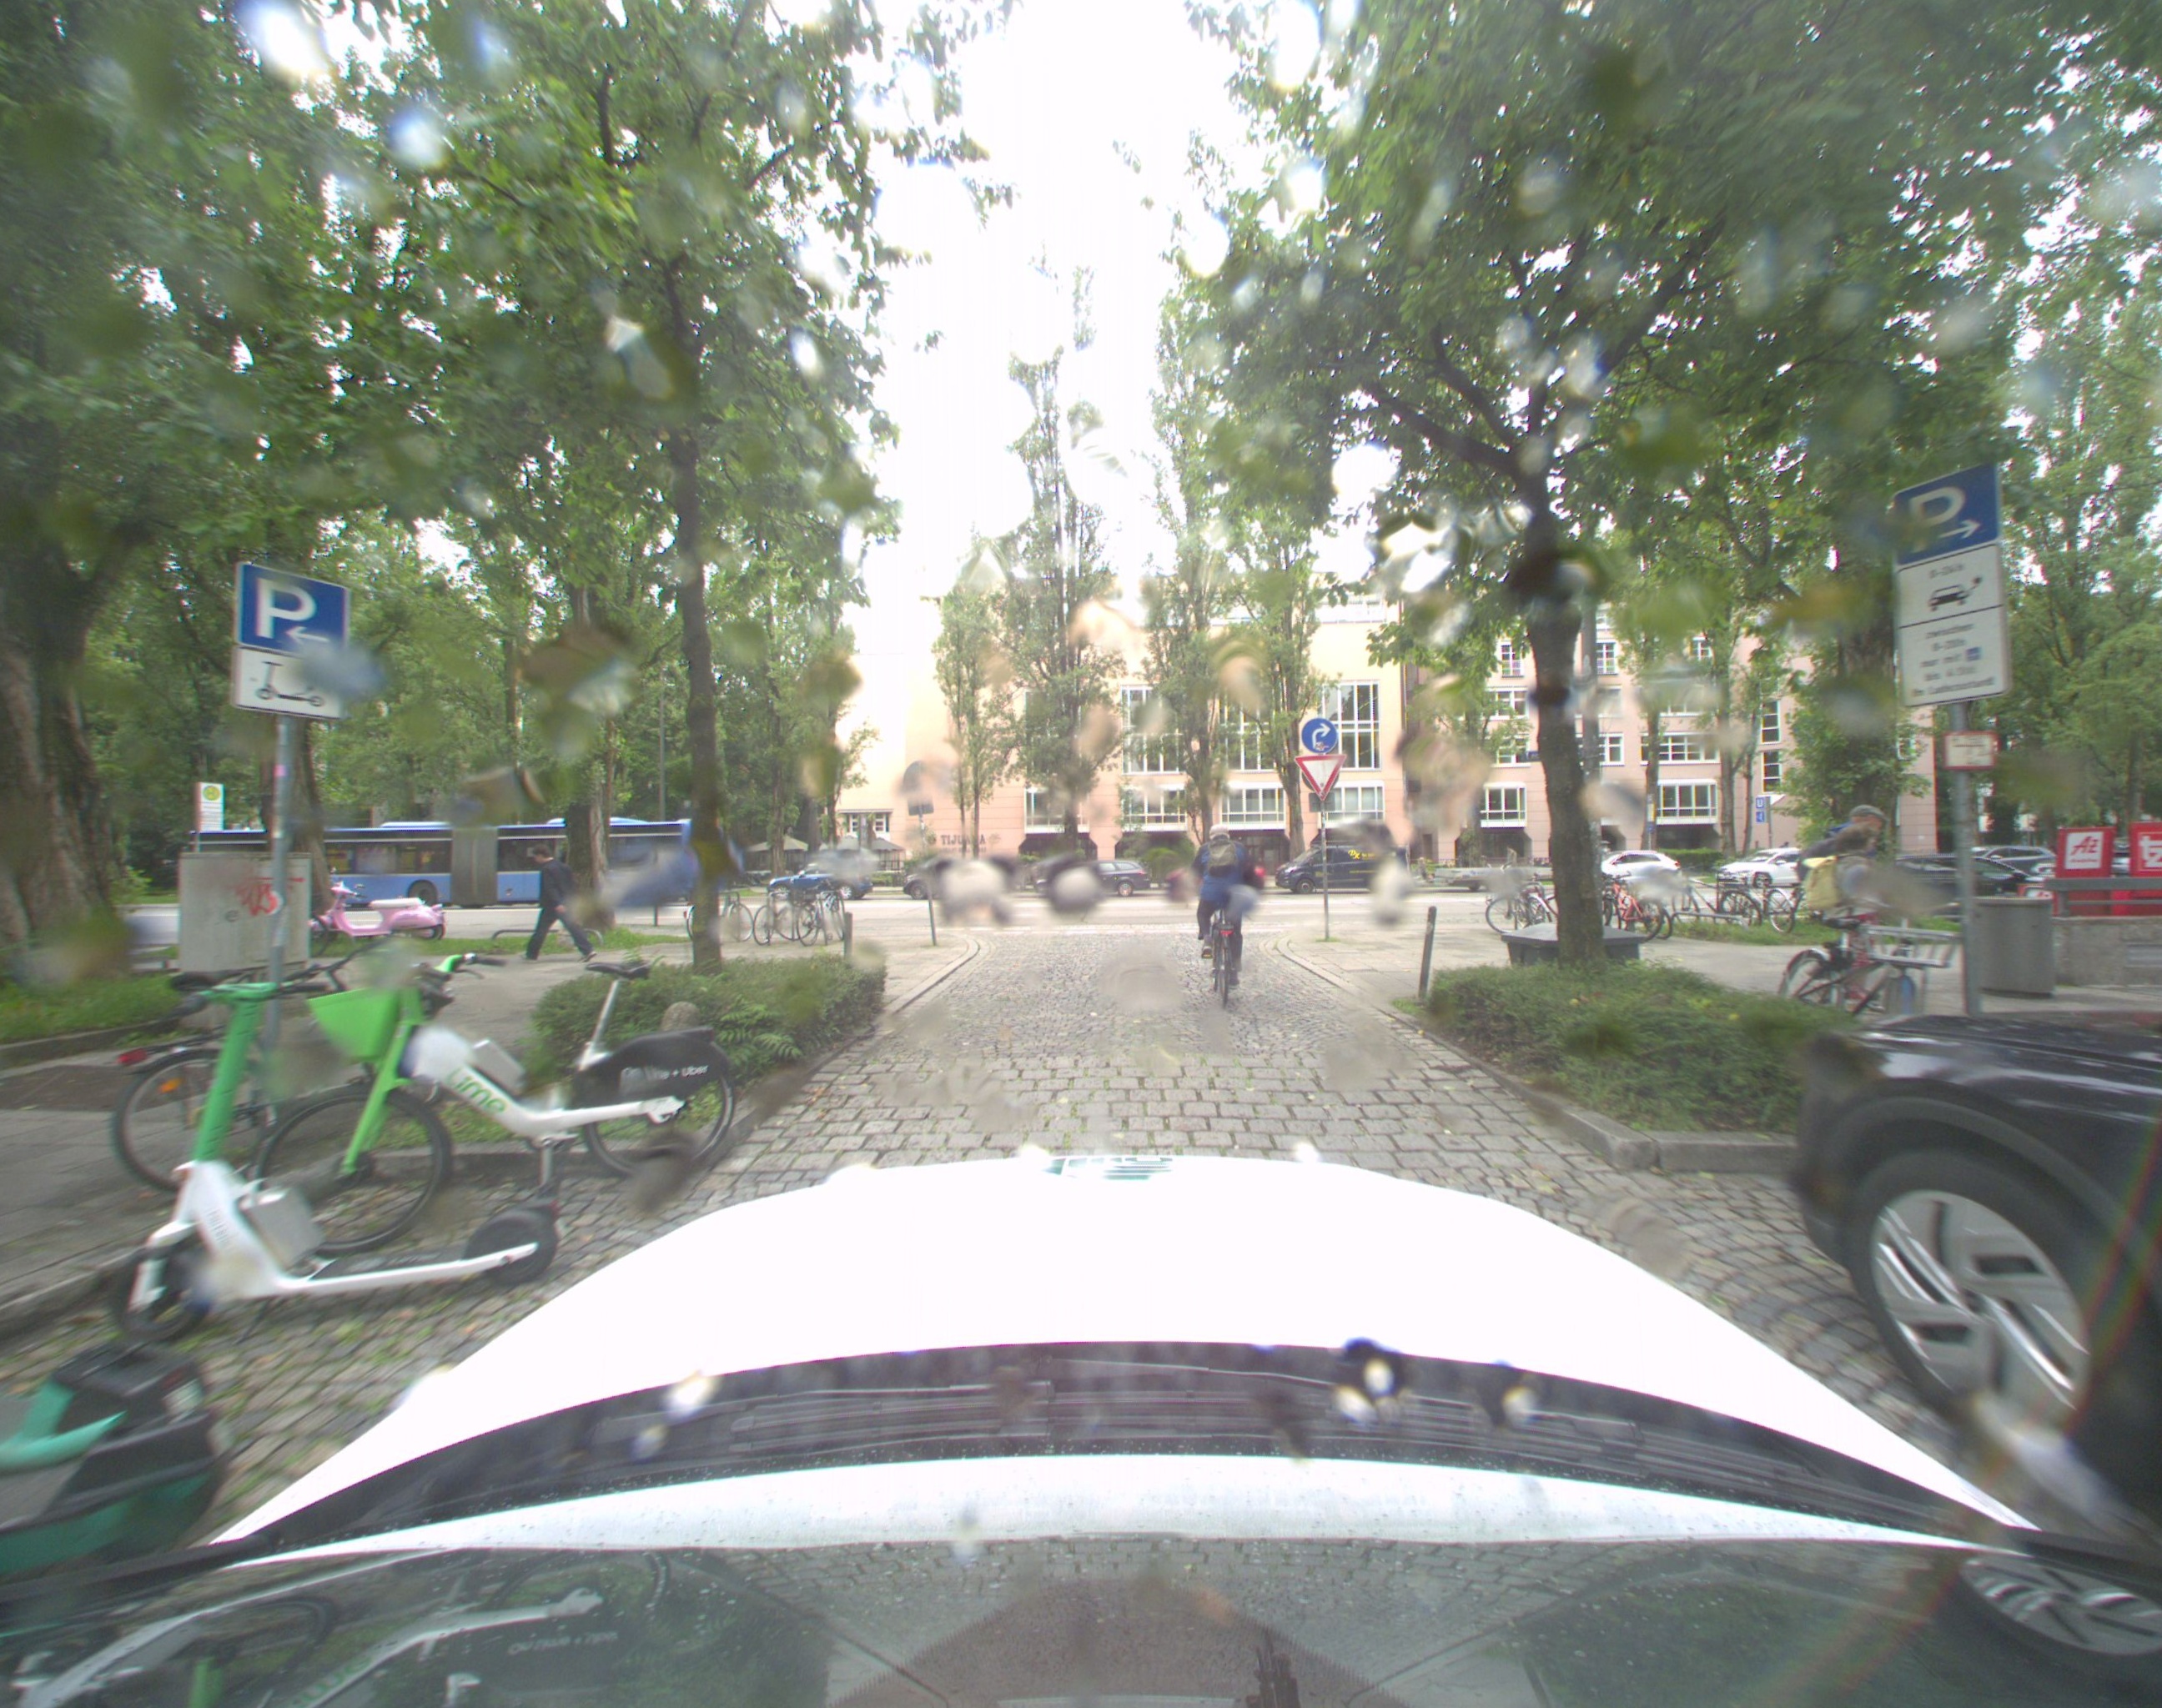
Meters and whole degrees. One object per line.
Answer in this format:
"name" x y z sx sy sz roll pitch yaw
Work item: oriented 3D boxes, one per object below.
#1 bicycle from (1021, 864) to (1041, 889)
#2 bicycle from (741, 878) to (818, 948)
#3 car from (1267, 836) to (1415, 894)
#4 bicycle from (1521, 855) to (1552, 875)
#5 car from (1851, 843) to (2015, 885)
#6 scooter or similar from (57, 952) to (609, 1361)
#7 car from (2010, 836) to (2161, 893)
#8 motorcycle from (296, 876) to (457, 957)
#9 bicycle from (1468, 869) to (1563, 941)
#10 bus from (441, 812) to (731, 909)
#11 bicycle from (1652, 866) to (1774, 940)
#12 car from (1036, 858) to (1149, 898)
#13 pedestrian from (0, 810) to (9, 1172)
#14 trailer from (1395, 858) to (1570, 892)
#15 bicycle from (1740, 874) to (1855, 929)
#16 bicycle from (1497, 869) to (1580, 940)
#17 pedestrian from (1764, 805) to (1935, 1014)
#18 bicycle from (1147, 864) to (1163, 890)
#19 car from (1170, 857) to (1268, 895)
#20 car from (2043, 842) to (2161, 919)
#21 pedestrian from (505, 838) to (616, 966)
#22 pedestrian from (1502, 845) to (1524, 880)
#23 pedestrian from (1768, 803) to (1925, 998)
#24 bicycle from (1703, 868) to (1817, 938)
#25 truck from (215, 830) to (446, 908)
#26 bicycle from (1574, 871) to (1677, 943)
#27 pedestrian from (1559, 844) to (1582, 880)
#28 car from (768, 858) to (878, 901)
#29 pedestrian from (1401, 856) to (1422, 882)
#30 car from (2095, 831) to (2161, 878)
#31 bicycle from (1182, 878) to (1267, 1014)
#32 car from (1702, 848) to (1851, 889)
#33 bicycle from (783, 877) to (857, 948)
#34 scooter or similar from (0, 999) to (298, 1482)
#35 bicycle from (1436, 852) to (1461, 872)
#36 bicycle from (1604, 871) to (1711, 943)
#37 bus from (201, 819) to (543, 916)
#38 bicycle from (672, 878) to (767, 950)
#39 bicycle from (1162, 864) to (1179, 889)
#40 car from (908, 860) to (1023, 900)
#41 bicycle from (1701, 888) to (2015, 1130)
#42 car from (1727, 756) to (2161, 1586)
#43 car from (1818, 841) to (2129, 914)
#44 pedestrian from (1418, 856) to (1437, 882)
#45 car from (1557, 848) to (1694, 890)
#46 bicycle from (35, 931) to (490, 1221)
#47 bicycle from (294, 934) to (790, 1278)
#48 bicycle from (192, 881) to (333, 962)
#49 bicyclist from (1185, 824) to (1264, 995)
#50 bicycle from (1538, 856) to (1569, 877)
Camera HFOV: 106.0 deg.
"bicycle" -2.354 1.040 38.409 0.671 1.124 1.991 -1 0 4
"bicycle" -5.188 0.983 14.109 0.487 1.093 1.707 -1 0 8
"car" 10.602 0.446 33.486 5.456 2.197 2.025 -1 0 3
"bicycle" 25.895 0.620 46.294 0.671 1.124 2.109 -1 0 4
"car" 33.791 0.398 32.405 4.291 1.542 2.002 -1 0 4
"scooter or similar" -2.580 0.992 2.968 1.431 1.144 0.367 -1 0 -22
"car" 33.728 0.330 26.365 4.779 1.722 2.002 -1 -1 3
"motorcycle" -11.825 1.008 13.737 2.002 1.196 0.622 -1 0 -41
"bicycle" 7.002 0.787 13.230 0.473 1.050 1.875 -1 -1 -2
"bus" -17.244 0.233 28.767 8.455 3.052 2.929 -1 0 2
"bicycle" 10.065 0.742 13.059 0.509 1.105 1.932 -1 -1 3
"car" 0.517 0.966 33.891 4.589 1.529 1.795 -1 0 3
"pedestrian" -5.150 0.684 3.257 0.747 1.773 0.706 1 0 2
"trailer" 16.270 0.836 33.303 5.992 1.199 2.407 -1 0 3
"bicycle" 11.611 0.742 13.278 0.467 0.818 1.837 -1 -1 8
"bicycle" 7.666 0.810 13.735 0.472 1.050 1.879 -1 0 5
"pedestrian" 6.494 0.449 6.923 0.837 1.680 0.613 -1 0 12
"bicycle" 3.414 1.055 37.707 0.671 1.124 1.743 -1 0 4
"car" 5.615 0.893 33.470 3.841 1.449 1.681 -1 0 5
"car" 23.334 0.515 17.171 3.877 1.526 1.751 -1 1 4
"pedestrian" -7.290 0.651 11.441 0.952 1.711 0.858 -2 0 1
"pedestrian" 21.918 0.431 41.314 0.726 1.713 0.710 -1 -1 4
"pedestrian" 7.002 0.411 7.491 0.798 1.696 0.666 -1 0 12
"bicycle" 10.894 0.755 13.145 0.509 1.038 1.837 -1 -1 8
"truck" -29.900 0.585 32.616 7.026 2.907 2.604 -1 0 3
"bicycle" 8.550 0.798 12.878 0.472 1.050 1.879 -1 -1 5
"pedestrian" 24.103 0.387 40.129 0.726 1.713 0.710 -1 -1 4
"car" -10.825 1.069 34.338 4.050 1.732 1.794 -1 -2 1
"pedestrian" 17.488 0.799 43.044 0.710 1.369 0.725 -1 -1 -26
"car" 43.763 -0.012 32.205 4.727 1.797 2.001 -1 0 2
"bicycle" 1.401 0.834 8.085 0.712 1.148 1.905 -1 -1 9
"car" 27.954 0.570 32.836 4.296 1.542 2.000 -1 0 0
"bicycle" -4.420 0.967 13.914 0.487 1.093 1.707 -1 0 8
"scooter or similar" -2.904 1.002 2.223 1.242 1.144 0.328 -1 0 3
"bicycle" 21.014 0.443 46.606 0.671 1.124 1.991 -1 0 4
"bicycle" 9.036 0.795 12.854 0.472 1.050 1.879 -1 -1 5
"bus" -25.009 0.463 29.050 9.726 3.052 2.929 -1 0 2
"bicycle" -6.188 0.995 14.062 0.487 1.093 1.988 -1 0 8
"bicycle" 4.130 1.021 37.670 0.671 1.124 1.743 -1 0 4
"car" -4.805 1.080 34.184 4.481 1.529 1.795 -1 0 3
"bicycle" 4.648 0.823 5.068 0.471 1.136 1.882 -1 0 11
"car" 3.149 0.643 0.703 1.913 1.700 4.202 0 0 1
"car" 18.722 0.477 17.276 4.410 1.427 1.760 -1 1 6
"pedestrian" 18.310 0.783 43.056 0.726 1.369 0.710 -1 0 4
"car" 21.715 0.596 32.627 4.200 1.542 1.808 -1 -2 5
"bicycle" -4.016 0.998 4.239 0.550 1.022 1.763 -1 0 1
"bicycle" -2.310 1.011 3.731 1.767 1.143 0.549 -1 0 -29
"bicycle" -12.600 1.027 12.553 1.604 1.188 0.584 -1 0 2
"bicyclist" 1.418 0.529 8.152 0.718 1.619 0.758 -1 0 7
"bicycle" 26.651 0.699 45.941 0.671 1.124 1.991 -1 0 4
